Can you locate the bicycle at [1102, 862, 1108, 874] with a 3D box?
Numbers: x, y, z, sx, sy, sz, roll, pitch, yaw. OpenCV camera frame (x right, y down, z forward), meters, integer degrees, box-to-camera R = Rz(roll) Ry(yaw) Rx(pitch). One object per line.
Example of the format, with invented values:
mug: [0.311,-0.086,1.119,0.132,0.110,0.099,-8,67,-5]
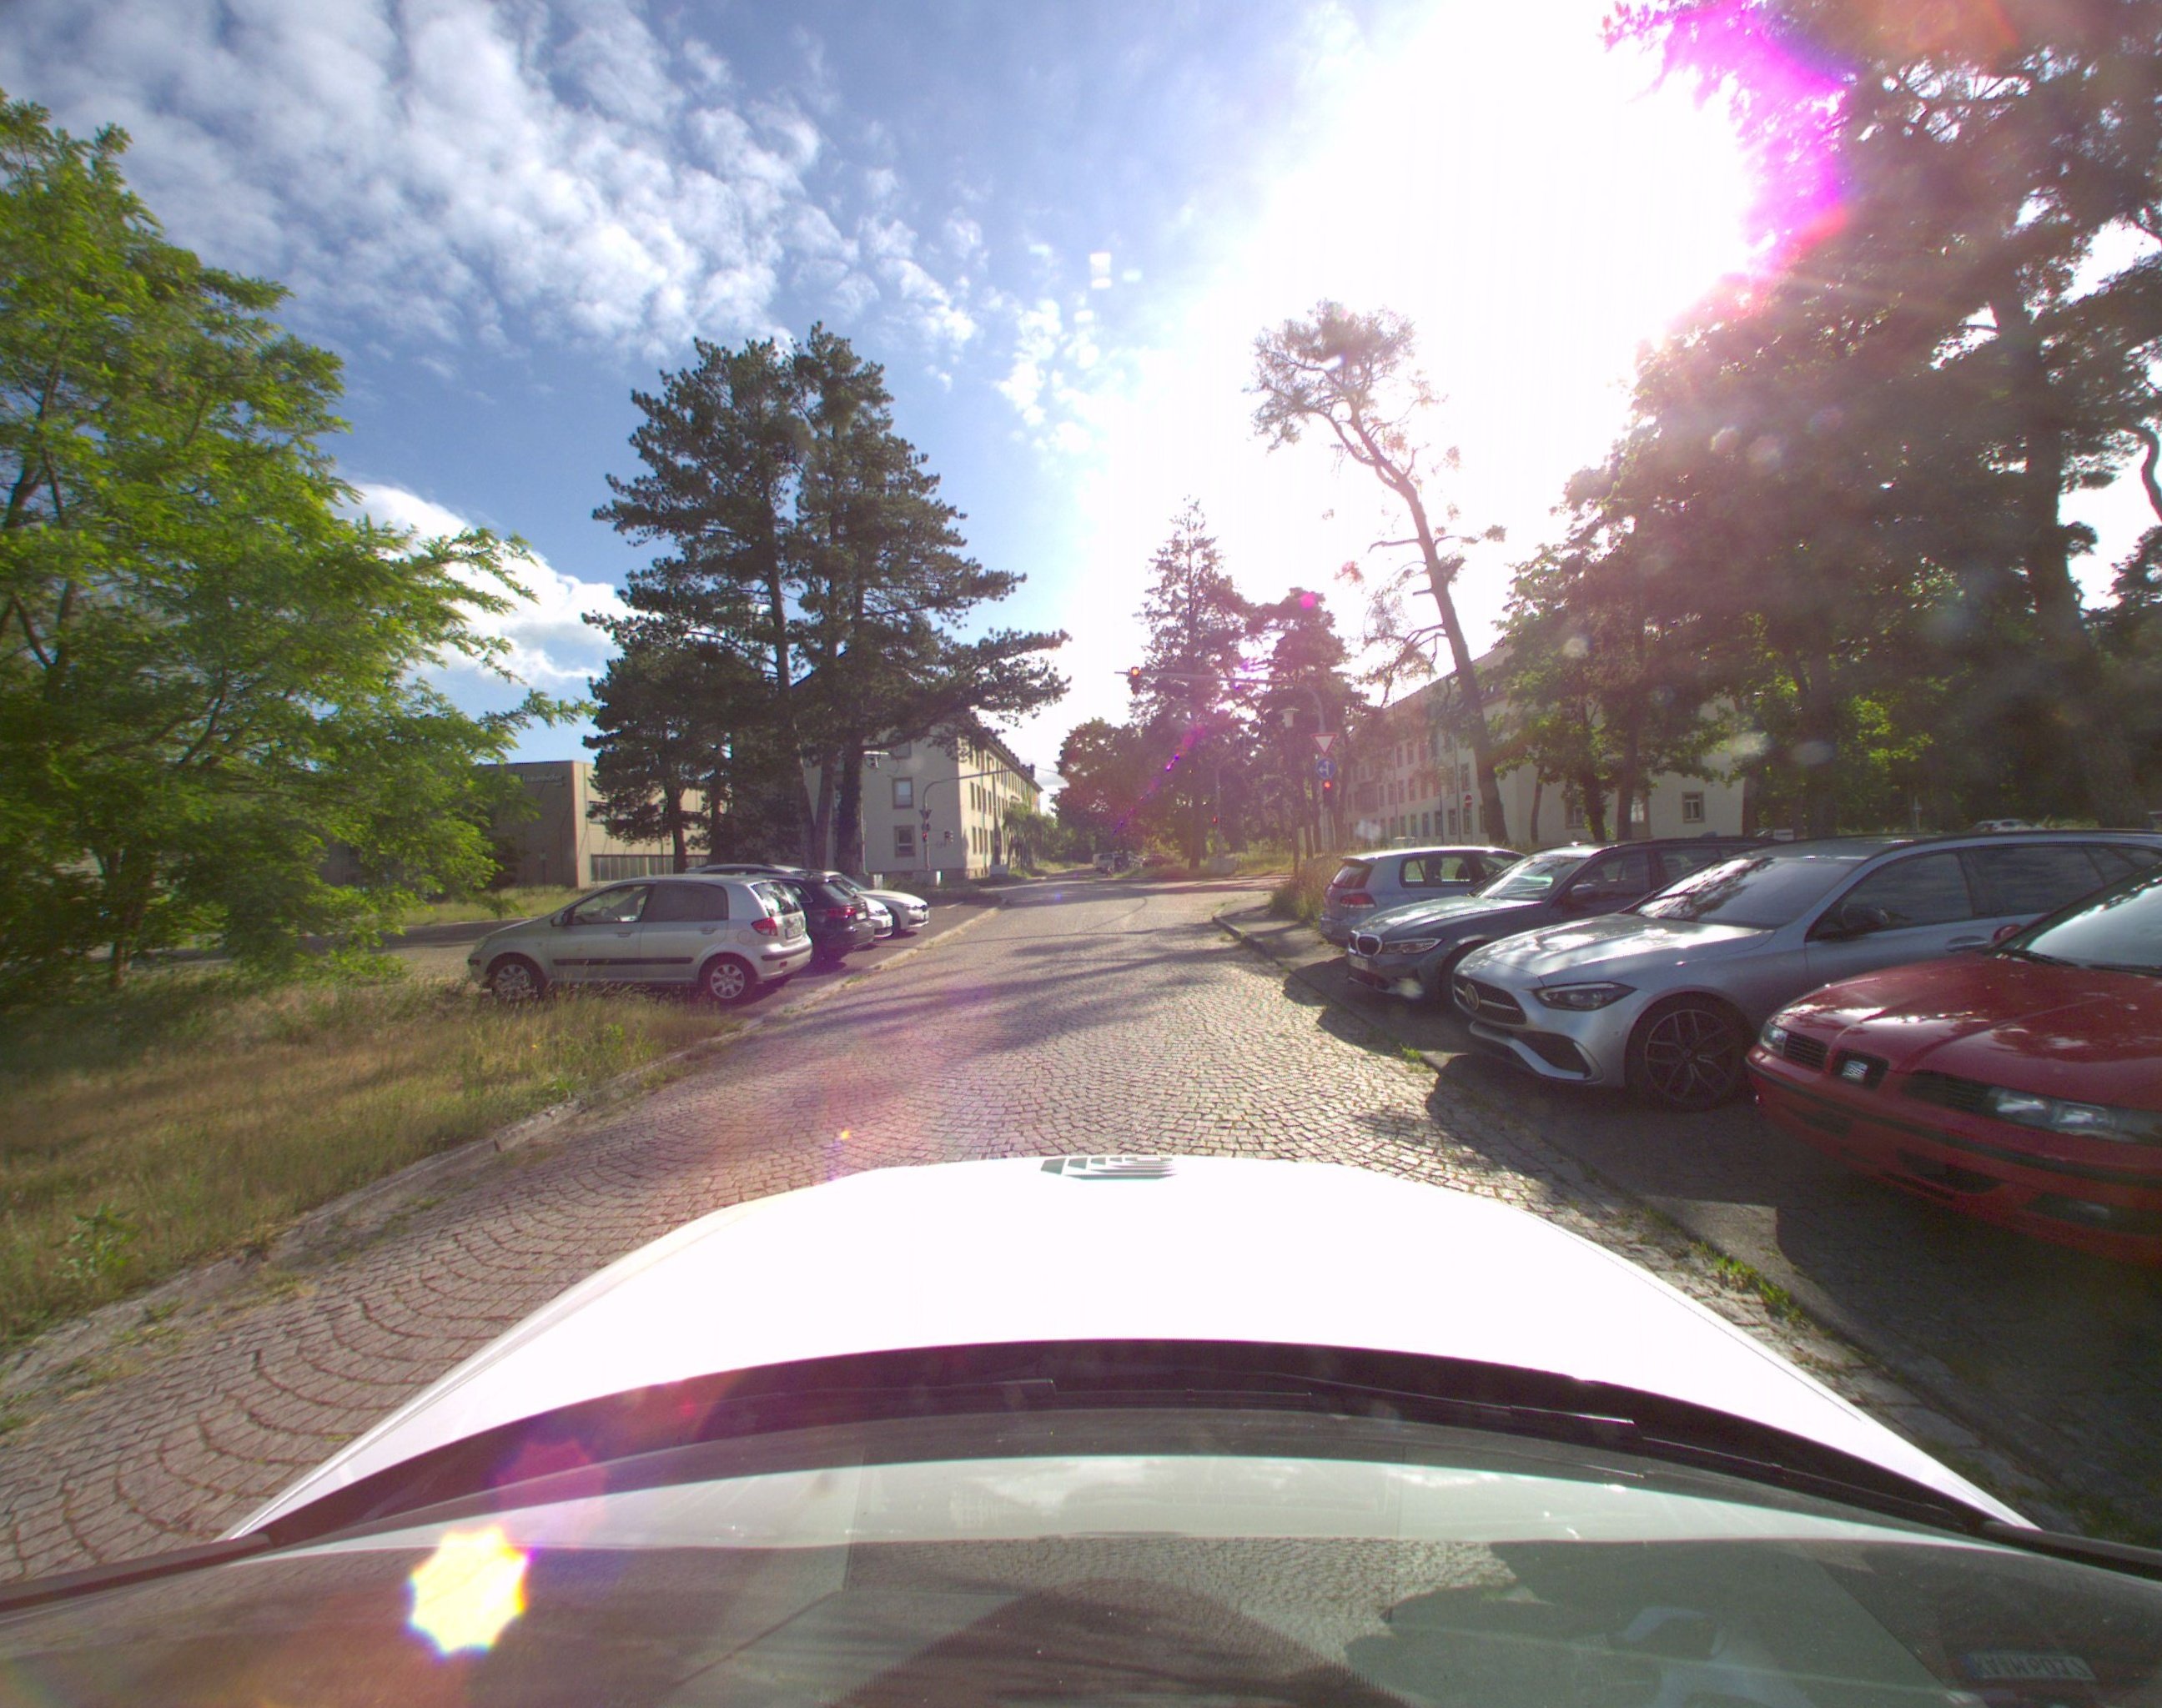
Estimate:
bicycle: [2.050,1.200,69.399,0.415,1.010,1.484,0,-1,3]

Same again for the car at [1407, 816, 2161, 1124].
car: [4.705,0.618,5.291,4.414,1.415,1.782,-4,0,2]

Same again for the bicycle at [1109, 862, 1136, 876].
bicycle: [3.186,1.132,62.304,2.025,1.010,0.626,0,-1,-6]

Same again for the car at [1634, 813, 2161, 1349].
car: [4.766,0.560,3.104,4.111,1.449,1.638,-4,0,2]

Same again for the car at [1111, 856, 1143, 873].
car: [4.188,0.942,74.168,2.775,1.467,1.669,0,-1,-3]

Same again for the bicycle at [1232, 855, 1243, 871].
bicycle: [9.102,0.526,47.442,0.300,0.961,1.585,0,-1,-1]

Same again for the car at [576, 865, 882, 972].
car: [-5.314,0.946,12.709,3.975,1.480,1.802,0,0,-1]

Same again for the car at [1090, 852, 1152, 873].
car: [3.795,0.823,77.780,5.533,2.014,1.989,0,-1,-16]

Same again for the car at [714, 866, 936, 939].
car: [-5.556,1.032,18.091,4.321,1.468,1.830,0,0,-1]

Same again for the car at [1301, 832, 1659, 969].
car: [5.070,0.564,10.747,3.867,1.415,1.638,-4,0,2]

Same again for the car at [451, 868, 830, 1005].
car: [-5.233,0.948,10.042,3.735,1.487,1.645,0,0,-1]

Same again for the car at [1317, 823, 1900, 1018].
car: [4.843,0.588,7.971,4.541,1.415,1.638,-4,0,2]

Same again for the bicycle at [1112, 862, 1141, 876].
bicycle: [3.330,1.095,59.702,2.106,1.010,0.619,0,-1,-6]

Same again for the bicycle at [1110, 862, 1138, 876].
bicycle: [3.228,1.120,61.420,2.002,1.010,0.631,0,-1,-6]

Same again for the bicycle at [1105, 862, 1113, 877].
bicycle: [1.903,1.047,56.178,0.466,1.010,1.585,0,-1,-1]

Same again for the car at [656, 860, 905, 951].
car: [-5.635,0.945,15.682,4.068,1.593,1.884,0,0,-1]

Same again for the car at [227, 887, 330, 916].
car: [-46.726,2.745,47.519,1.894,1.433,4.003,-2,-1,3]
